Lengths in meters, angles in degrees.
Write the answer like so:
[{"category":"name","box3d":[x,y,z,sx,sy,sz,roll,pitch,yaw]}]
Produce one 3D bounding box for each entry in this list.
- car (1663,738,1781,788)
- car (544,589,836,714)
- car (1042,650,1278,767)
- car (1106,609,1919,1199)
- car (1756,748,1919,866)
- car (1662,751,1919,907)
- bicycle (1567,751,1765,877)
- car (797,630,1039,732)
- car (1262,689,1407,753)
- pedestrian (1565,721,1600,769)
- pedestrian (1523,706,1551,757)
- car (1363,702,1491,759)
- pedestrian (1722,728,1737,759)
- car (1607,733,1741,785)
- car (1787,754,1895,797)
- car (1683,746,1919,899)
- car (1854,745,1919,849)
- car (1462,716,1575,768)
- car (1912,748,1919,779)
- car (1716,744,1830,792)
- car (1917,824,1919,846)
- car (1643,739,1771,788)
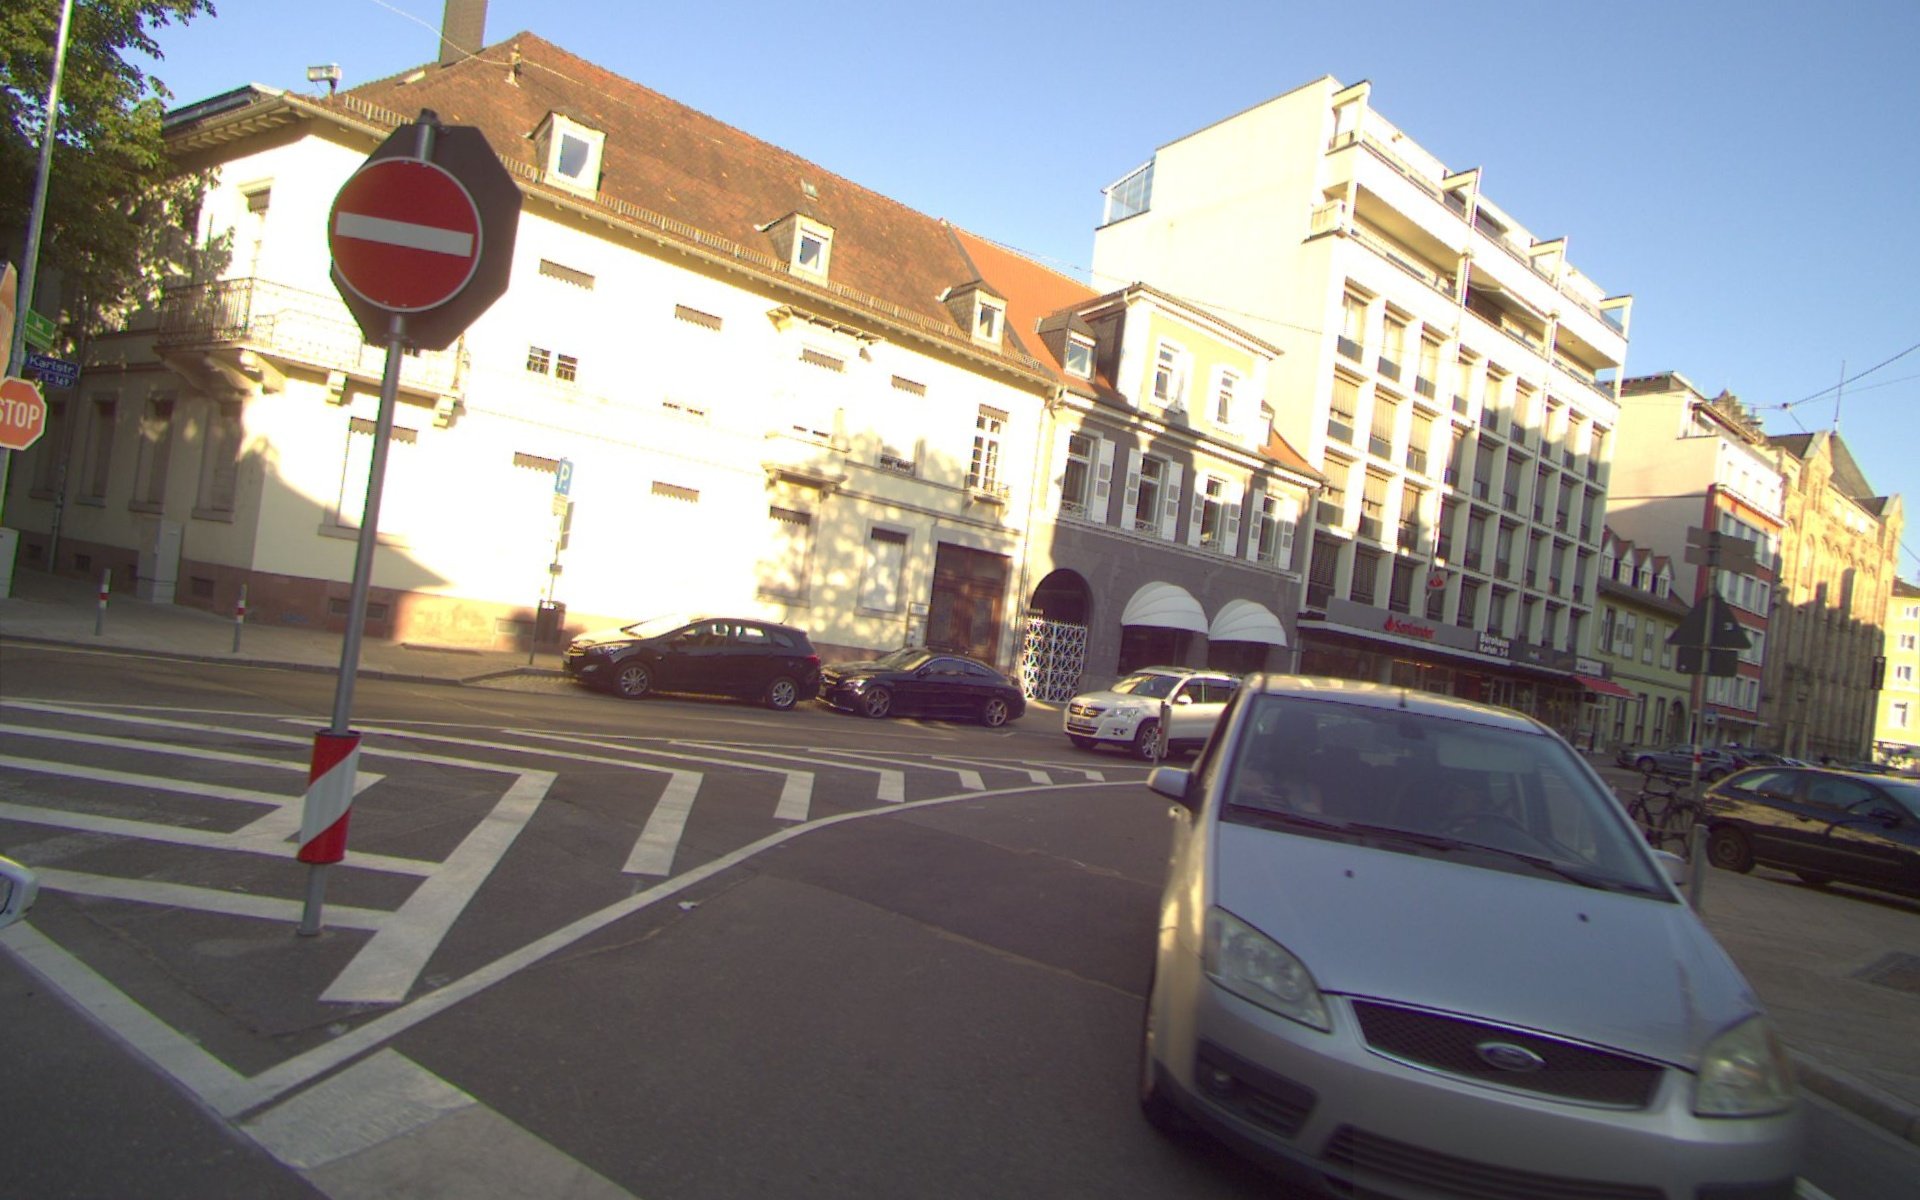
[{"category":"car","box3d":[35.021,7.463,46.353,4.120,1.542,1.770,6,-2,38]},{"category":"car","box3d":[-4.591,0.914,17.333,4.382,1.560,1.851,9,-2,-33]},{"category":"car","box3d":[3.768,2.035,18.640,4.170,1.674,1.877,9,-3,-37]},{"category":"car","box3d":[1.834,1.119,4.458,1.850,1.672,4.359,7,-2,13]},{"category":"car","box3d":[15.862,3.547,16.044,1.844,1.474,4.971,9,-2,-7]},{"category":"car","box3d":[10.691,2.674,11.574,1.684,1.426,4.281,8,-6,-11]},{"category":"bicycle","box3d":[7.963,2.411,11.368,1.805,1.147,0.826,7,-2,-16]},{"category":"car","box3d":[-0.767,1.649,20.075,4.478,1.386,1.758,9,0,-35]},{"category":"car","box3d":[10.762,3.482,28.818,4.146,1.385,1.759,8,-2,-35]},{"category":"pedestrian","box3d":[29.165,6.796,47.155,1.092,2.036,0.902,8,-2,-36]},{"category":"pedestrian","box3d":[24.673,5.625,43.033,0.614,2.037,0.673,8,-1,-36]},{"category":"car","box3d":[14.878,4.160,31.973,4.146,1.385,1.759,8,-2,-35]},{"category":"pedestrian","box3d":[44.563,8.312,58.265,0.421,1.726,0.495,8,0,45]},{"category":"car","box3d":[29.802,6.626,42.148,4.104,1.385,1.777,7,-2,16]},{"category":"car","box3d":[48.813,9.721,55.836,4.111,1.542,1.774,6,-2,28]},{"category":"car","box3d":[13.162,3.226,14.146,1.953,1.475,4.988,7,-1,-5]},{"category":"car","box3d":[18.541,3.765,17.543,1.749,1.746,4.134,7,-1,-8]},{"category":"car","box3d":[19.603,5.001,35.265,4.146,1.385,1.759,8,-2,-35]},{"category":"car","box3d":[68.827,11.698,70.531,4.508,2.035,2.331,10,-4,-38]},{"category":"car","box3d":[39.531,8.141,49.030,4.120,1.542,1.770,6,-2,38]},{"category":"car","box3d":[21.461,4.509,19.333,1.749,1.558,4.134,7,-1,-8]},{"category":"car","box3d":[32.702,7.143,44.187,4.108,1.385,1.775,6,-2,25]}]
